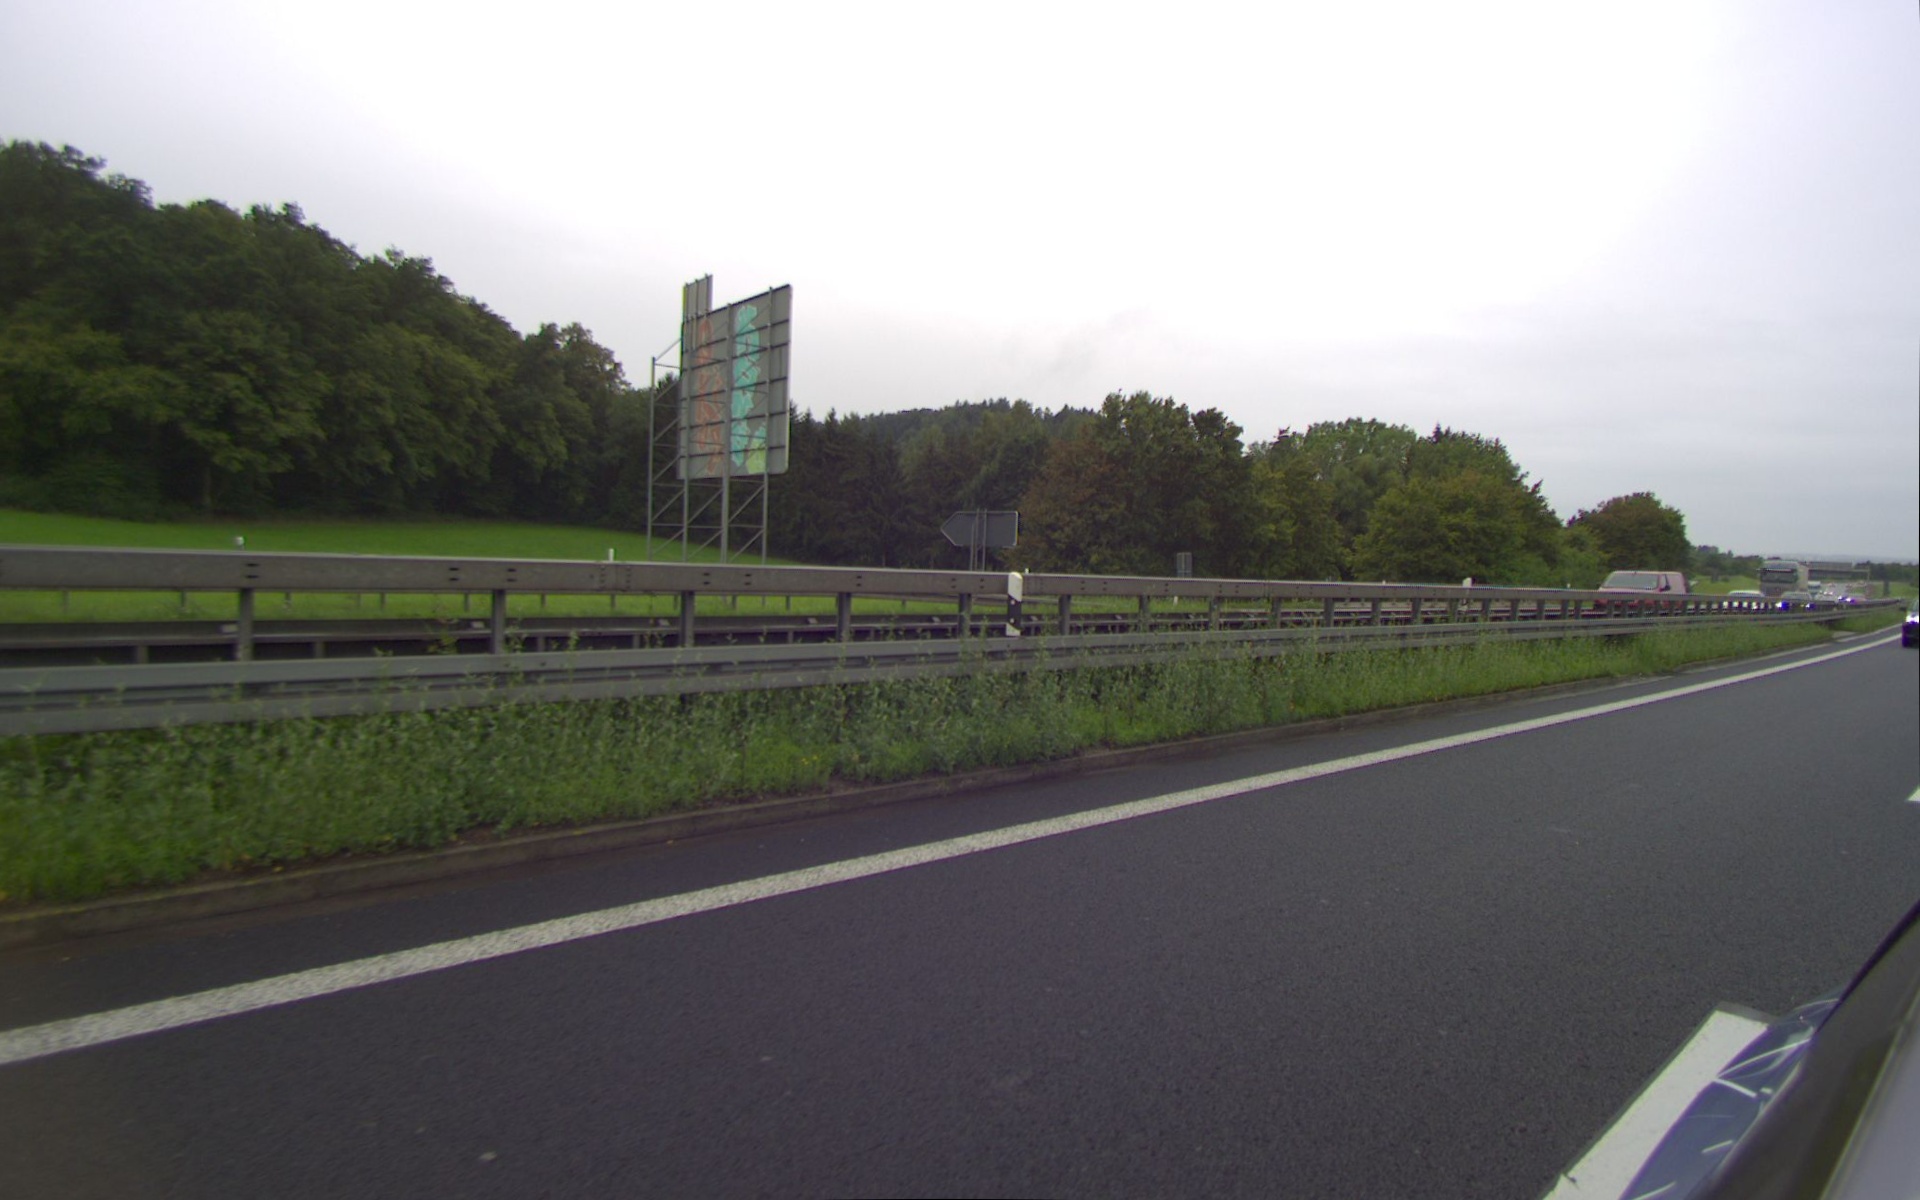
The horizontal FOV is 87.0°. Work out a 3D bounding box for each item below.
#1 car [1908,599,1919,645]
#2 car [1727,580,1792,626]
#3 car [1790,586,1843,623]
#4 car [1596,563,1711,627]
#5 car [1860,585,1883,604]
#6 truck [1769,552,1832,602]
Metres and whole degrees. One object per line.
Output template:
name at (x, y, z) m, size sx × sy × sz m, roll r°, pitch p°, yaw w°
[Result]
car at (31.661, 0.710, 32.160) m, size 4.489 × 1.373 × 1.865 m, roll -1°, pitch 2°, yaw -42°
car at (37.531, 0.092, 47.450) m, size 4.423 × 2.038 × 1.749 m, roll -1°, pitch 2°, yaw -43°
car at (50.599, 0.240, 59.748) m, size 4.421 × 2.038 × 1.750 m, roll -1°, pitch 2°, yaw -42°
car at (24.021, -0.210, 34.972) m, size 4.990 × 2.038 × 2.128 m, roll -1°, pitch 2°, yaw -42°
car at (104.428, -0.654, 115.925) m, size 1.748 × 2.038 × 4.426 m, roll 2°, pitch 2°, yaw 45°
truck at (71.061, -1.939, 85.474) m, size 9.860 × 3.949 × 2.795 m, roll -1°, pitch 2°, yaw -43°
